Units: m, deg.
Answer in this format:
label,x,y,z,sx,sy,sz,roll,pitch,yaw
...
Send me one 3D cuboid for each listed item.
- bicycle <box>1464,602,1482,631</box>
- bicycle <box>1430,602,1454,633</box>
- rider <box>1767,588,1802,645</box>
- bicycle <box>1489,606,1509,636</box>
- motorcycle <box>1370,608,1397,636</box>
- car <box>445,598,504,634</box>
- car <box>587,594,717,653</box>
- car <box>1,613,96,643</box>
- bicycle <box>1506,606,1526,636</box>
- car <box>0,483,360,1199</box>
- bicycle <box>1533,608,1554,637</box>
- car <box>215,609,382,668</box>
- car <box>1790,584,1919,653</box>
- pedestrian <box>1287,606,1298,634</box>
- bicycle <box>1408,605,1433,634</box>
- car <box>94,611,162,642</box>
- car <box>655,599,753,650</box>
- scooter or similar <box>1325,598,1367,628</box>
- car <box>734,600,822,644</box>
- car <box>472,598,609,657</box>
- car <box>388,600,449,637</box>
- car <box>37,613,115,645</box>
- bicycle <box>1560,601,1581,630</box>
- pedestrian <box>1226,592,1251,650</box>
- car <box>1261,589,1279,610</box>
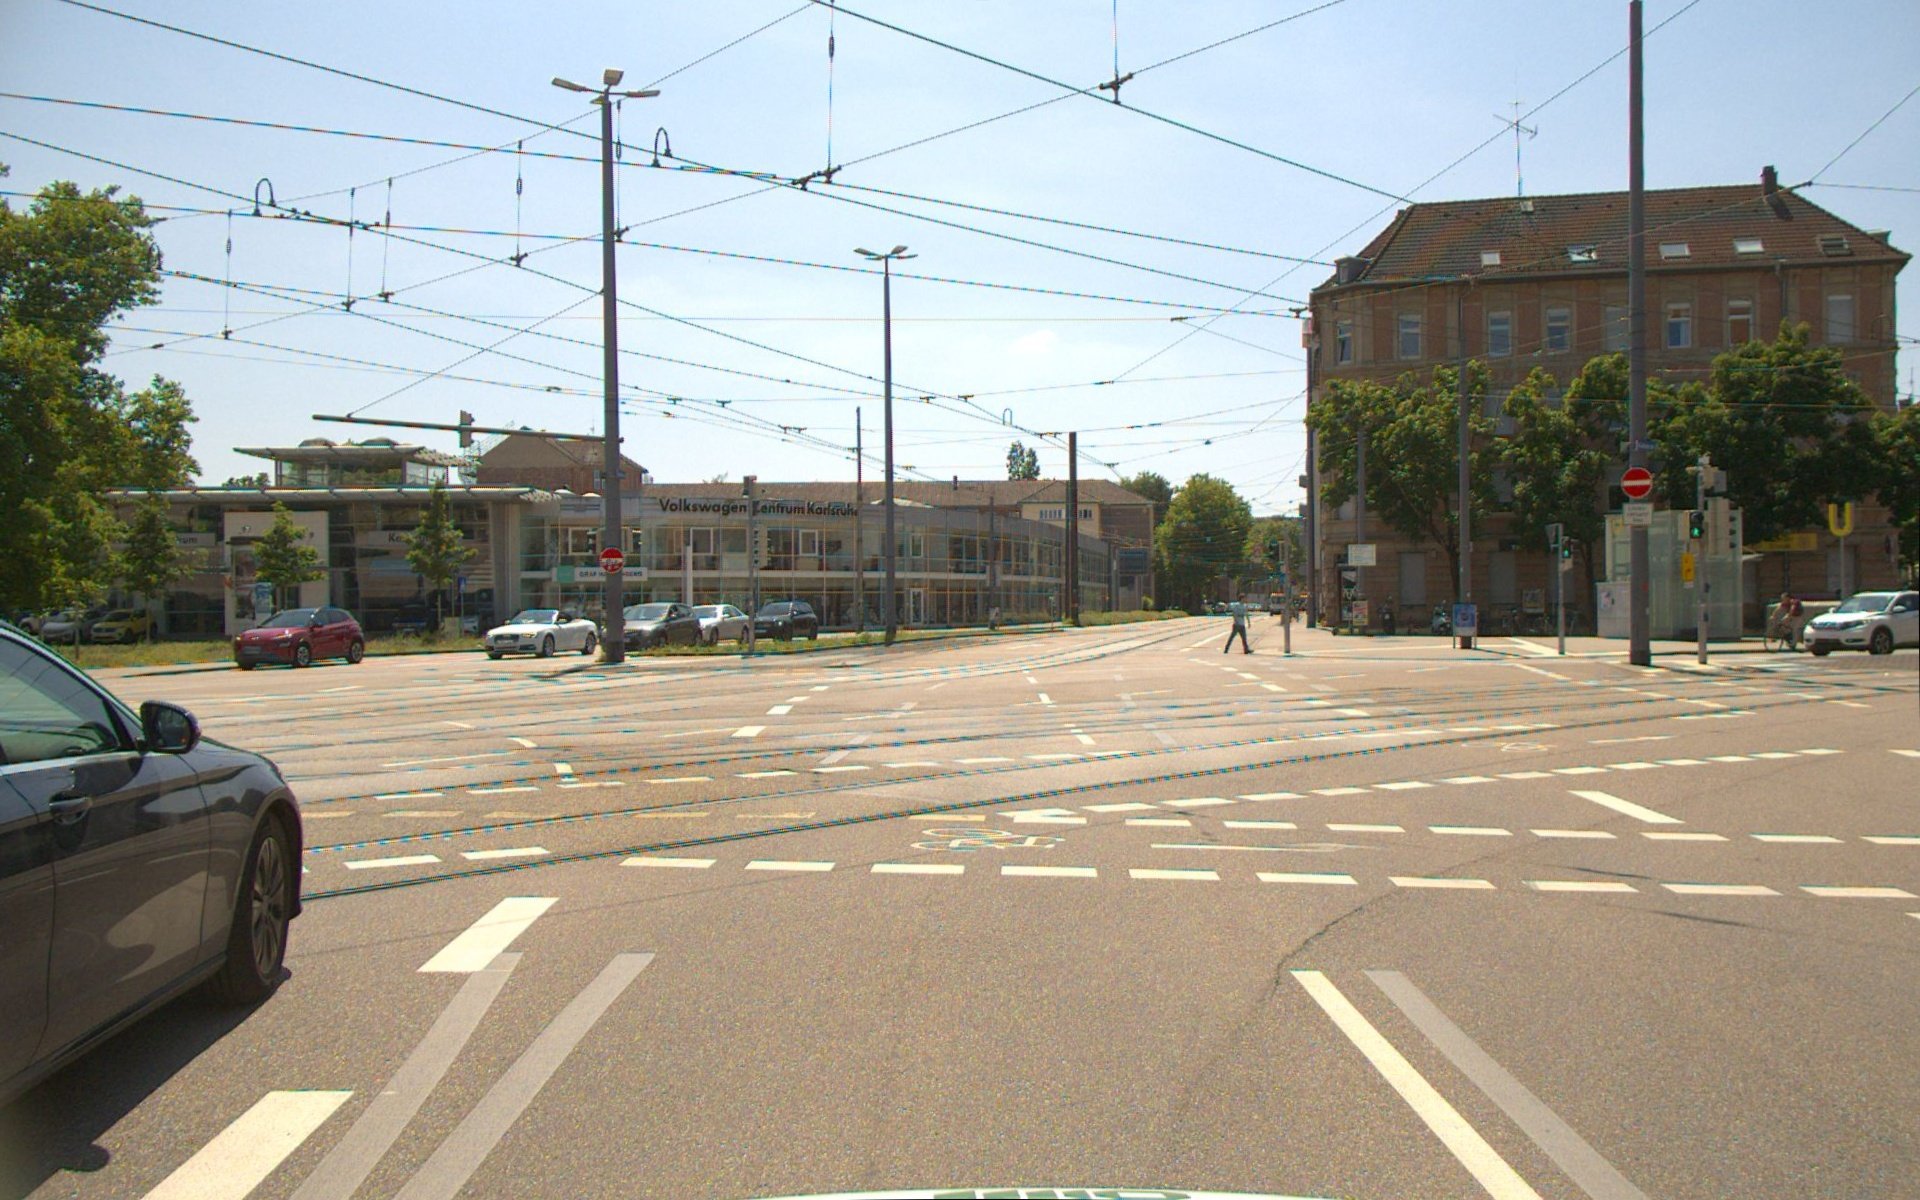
label,x,y,z,sx,sy,sz,roll,pitch,yaw
bicycle,20.051,0.638,64.692,0.539,1.139,1.822,-1,0,13
bicycle,18.930,0.697,64.993,0.433,1.166,2.094,1,-1,4
rider,24.035,0.481,48.233,0.865,1.629,0.557,0,0,-35
bicycle,21.029,0.817,64.545,0.539,1.139,1.822,-1,0,13
motorcycle,16.649,0.856,65.019,0.568,1.093,1.946,0,0,1
car,-24.547,0.821,83.728,1.882,1.737,3.998,1,-1,-2
car,-9.006,0.665,48.841,1.951,1.666,4.850,-1,0,14
car,-49.129,1.488,89.156,4.283,1.536,1.748,0,0,-38
bicycle,21.625,0.827,64.376,0.539,1.139,1.891,-1,0,13
car,-3.002,0.567,3.931,1.762,1.669,4.799,1,0,-5
bicycle,22.879,0.876,64.895,0.539,1.139,1.872,-1,0,13
car,-17.959,1.016,45.196,1.951,1.491,4.850,-1,0,10
car,22.778,0.440,41.193,4.130,1.633,1.679,0,0,-27
pedestrian,24.684,1.467,122.718,0.751,2.049,0.664,1,-1,9
bicycle,18.062,0.752,64.919,0.539,1.139,1.821,0,0,3
car,-42.081,1.312,83.714,1.733,1.536,4.319,0,0,-7
car,-9.308,0.878,60.605,1.951,1.770,4.547,-1,0,14
scooter or similar,15.785,0.526,67.635,1.770,1.202,0.592,0,-1,-34
car,-7.371,0.881,67.578,2.034,1.712,4.850,-1,0,14
car,-12.172,0.769,48.349,2.032,1.608,4.850,-1,0,10
car,-27.270,0.948,83.416,1.882,1.737,3.998,1,-1,-2
car,-44.822,1.439,83.958,1.731,1.536,4.325,0,0,-2
bicycle,23.933,0.606,64.871,0.539,1.139,1.931,-1,0,13
pedestrian,8.299,0.623,49.278,0.454,1.738,0.636,0,0,-21
car,36.204,-0.037,193.396,1.951,2.219,4.372,1,-1,12
